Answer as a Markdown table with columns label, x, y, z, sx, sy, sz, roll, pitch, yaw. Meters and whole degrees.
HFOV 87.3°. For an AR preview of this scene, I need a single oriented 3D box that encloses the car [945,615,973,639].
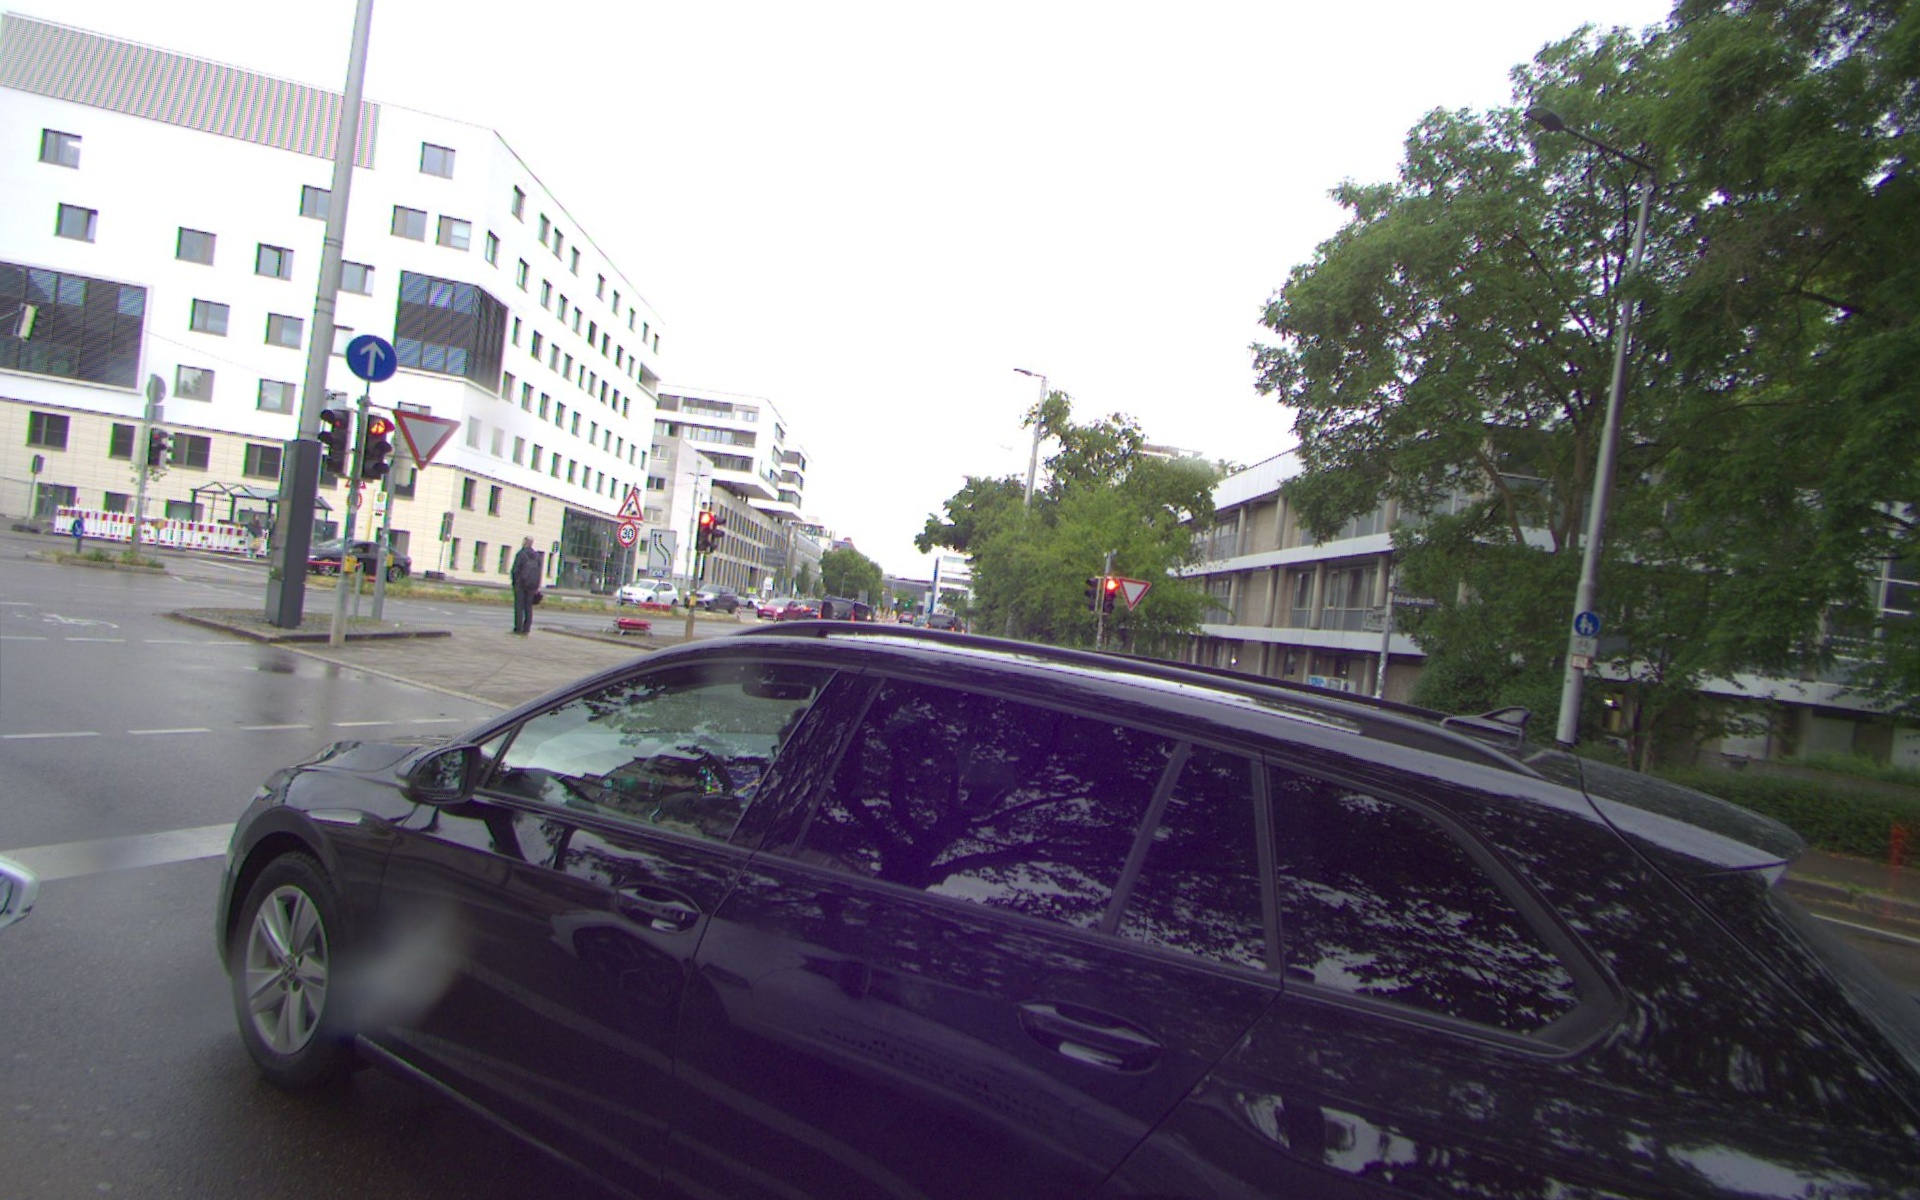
| label | x | y | z | sx | sy | sz | roll | pitch | yaw |
| --- | --- | --- | --- | --- | --- | --- | --- | --- | --- |
| car | -0.028 | 2.165 | 81.491 | 1.962 | 1.693 | 4.972 | 7 | -1 | 2 |

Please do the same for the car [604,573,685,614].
| label | x | y | z | sx | sy | sz | roll | pitch | yaw |
| --- | --- | --- | --- | --- | --- | --- | --- | --- | --- |
| car | -15.724 | -0.296 | 50.390 | 1.764 | 1.460 | 4.006 | 8 | -3 | 17 |

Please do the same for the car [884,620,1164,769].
| label | x | y | z | sx | sy | sz | roll | pitch | yaw |
| --- | --- | --- | --- | --- | --- | --- | --- | --- | --- |
| car | 0.758 | 1.269 | 14.405 | 1.851 | 1.467 | 3.964 | 9 | -2 | -34 |

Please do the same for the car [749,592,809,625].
| label | x | y | z | sx | sy | sz | roll | pitch | yaw |
| --- | --- | --- | --- | --- | --- | --- | --- | --- | --- |
| car | -11.775 | 0.617 | 65.810 | 1.930 | 1.574 | 4.536 | 8 | -3 | 16 |

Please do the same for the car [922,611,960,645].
| label | x | y | z | sx | sy | sz | roll | pitch | yaw |
| --- | --- | --- | --- | --- | --- | --- | --- | --- | --- |
| car | -1.179 | 1.837 | 64.616 | 1.963 | 1.829 | 4.791 | 8 | -2 | 3 |

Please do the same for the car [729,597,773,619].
| label | x | y | z | sx | sy | sz | roll | pitch | yaw |
| --- | --- | --- | --- | --- | --- | --- | --- | --- | --- |
| car | -20.669 | 0.741 | 99.395 | 4.003 | 1.575 | 1.962 | 7 | -3 | 38 |

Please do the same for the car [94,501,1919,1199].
| label | x | y | z | sx | sy | sz | roll | pitch | yaw |
| --- | --- | --- | --- | --- | --- | --- | --- | --- | --- |
| car | -0.275 | 0.767 | 2.731 | 4.436 | 1.483 | 1.673 | 8 | -1 | 30 |

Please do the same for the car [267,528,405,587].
| label | x | y | z | sx | sy | sz | roll | pitch | yaw |
| --- | --- | --- | --- | --- | --- | --- | --- | --- | --- |
| car | -22.756 | -1.523 | 36.865 | 1.764 | 1.460 | 4.006 | 8 | -3 | 17 |

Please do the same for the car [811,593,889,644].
| label | x | y | z | sx | sy | sz | roll | pitch | yaw |
| --- | --- | --- | --- | --- | --- | --- | --- | --- | --- |
| car | -4.882 | 0.887 | 45.282 | 1.764 | 1.930 | 4.312 | 8 | -1 | 16 |

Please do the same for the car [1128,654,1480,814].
| label | x | y | z | sx | sy | sz | roll | pitch | yaw |
| --- | --- | --- | --- | --- | --- | --- | --- | --- | --- |
| car | 4.705 | 1.818 | 14.364 | 1.853 | 1.467 | 4.359 | 9 | -2 | -37 |

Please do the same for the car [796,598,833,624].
| label | x | y | z | sx | sy | sz | roll | pitch | yaw |
| --- | --- | --- | --- | --- | --- | --- | --- | --- | --- |
| car | -11.529 | 0.891 | 79.865 | 1.930 | 1.554 | 4.164 | 8 | -2 | 4 |

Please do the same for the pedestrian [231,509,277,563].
| label | x | y | z | sx | sy | sz | roll | pitch | yaw |
| --- | --- | --- | --- | --- | --- | --- | --- | --- | --- |
| pedestrian | -26.833 | -2.418 | 38.227 | 0.808 | 1.861 | 0.955 | 6 | -2 | 20 |

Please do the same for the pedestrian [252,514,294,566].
| label | x | y | z | sx | sy | sz | roll | pitch | yaw |
| --- | --- | --- | --- | --- | --- | --- | --- | --- | --- |
| pedestrian | -27.742 | -2.423 | 40.628 | 0.941 | 1.957 | 1.001 | 5 | -2 | 41 |

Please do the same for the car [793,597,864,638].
| label | x | y | z | sx | sy | sz | roll | pitch | yaw |
| --- | --- | --- | --- | --- | --- | --- | --- | --- | --- |
| car | -6.789 | 0.954 | 52.499 | 1.764 | 1.726 | 4.692 | 8 | -1 | 16 |

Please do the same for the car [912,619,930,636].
| label | x | y | z | sx | sy | sz | roll | pitch | yaw |
| --- | --- | --- | --- | --- | --- | --- | --- | --- | --- |
| car | -4.608 | 3.295 | 119.883 | 1.834 | 1.669 | 4.781 | 7 | -3 | -1 |

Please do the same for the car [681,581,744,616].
| label | x | y | z | sx | sy | sz | roll | pitch | yaw |
| --- | --- | --- | --- | --- | --- | --- | --- | --- | --- |
| car | -15.388 | -0.057 | 62.846 | 1.962 | 1.684 | 4.392 | 8 | -1 | 12 |

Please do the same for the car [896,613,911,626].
| label | x | y | z | sx | sy | sz | roll | pitch | yaw |
| --- | --- | --- | --- | --- | --- | --- | --- | --- | --- |
| car | -8.510 | 2.936 | 151.379 | 1.835 | 1.669 | 4.778 | 7 | -3 | -4 |

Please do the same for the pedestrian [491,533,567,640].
| label | x | y | z | sx | sy | sz | roll | pitch | yaw |
| --- | --- | --- | --- | --- | --- | --- | --- | --- | --- |
| pedestrian | -8.275 | -0.232 | 19.360 | 0.815 | 1.913 | 1.028 | 7 | -2 | -2 |
